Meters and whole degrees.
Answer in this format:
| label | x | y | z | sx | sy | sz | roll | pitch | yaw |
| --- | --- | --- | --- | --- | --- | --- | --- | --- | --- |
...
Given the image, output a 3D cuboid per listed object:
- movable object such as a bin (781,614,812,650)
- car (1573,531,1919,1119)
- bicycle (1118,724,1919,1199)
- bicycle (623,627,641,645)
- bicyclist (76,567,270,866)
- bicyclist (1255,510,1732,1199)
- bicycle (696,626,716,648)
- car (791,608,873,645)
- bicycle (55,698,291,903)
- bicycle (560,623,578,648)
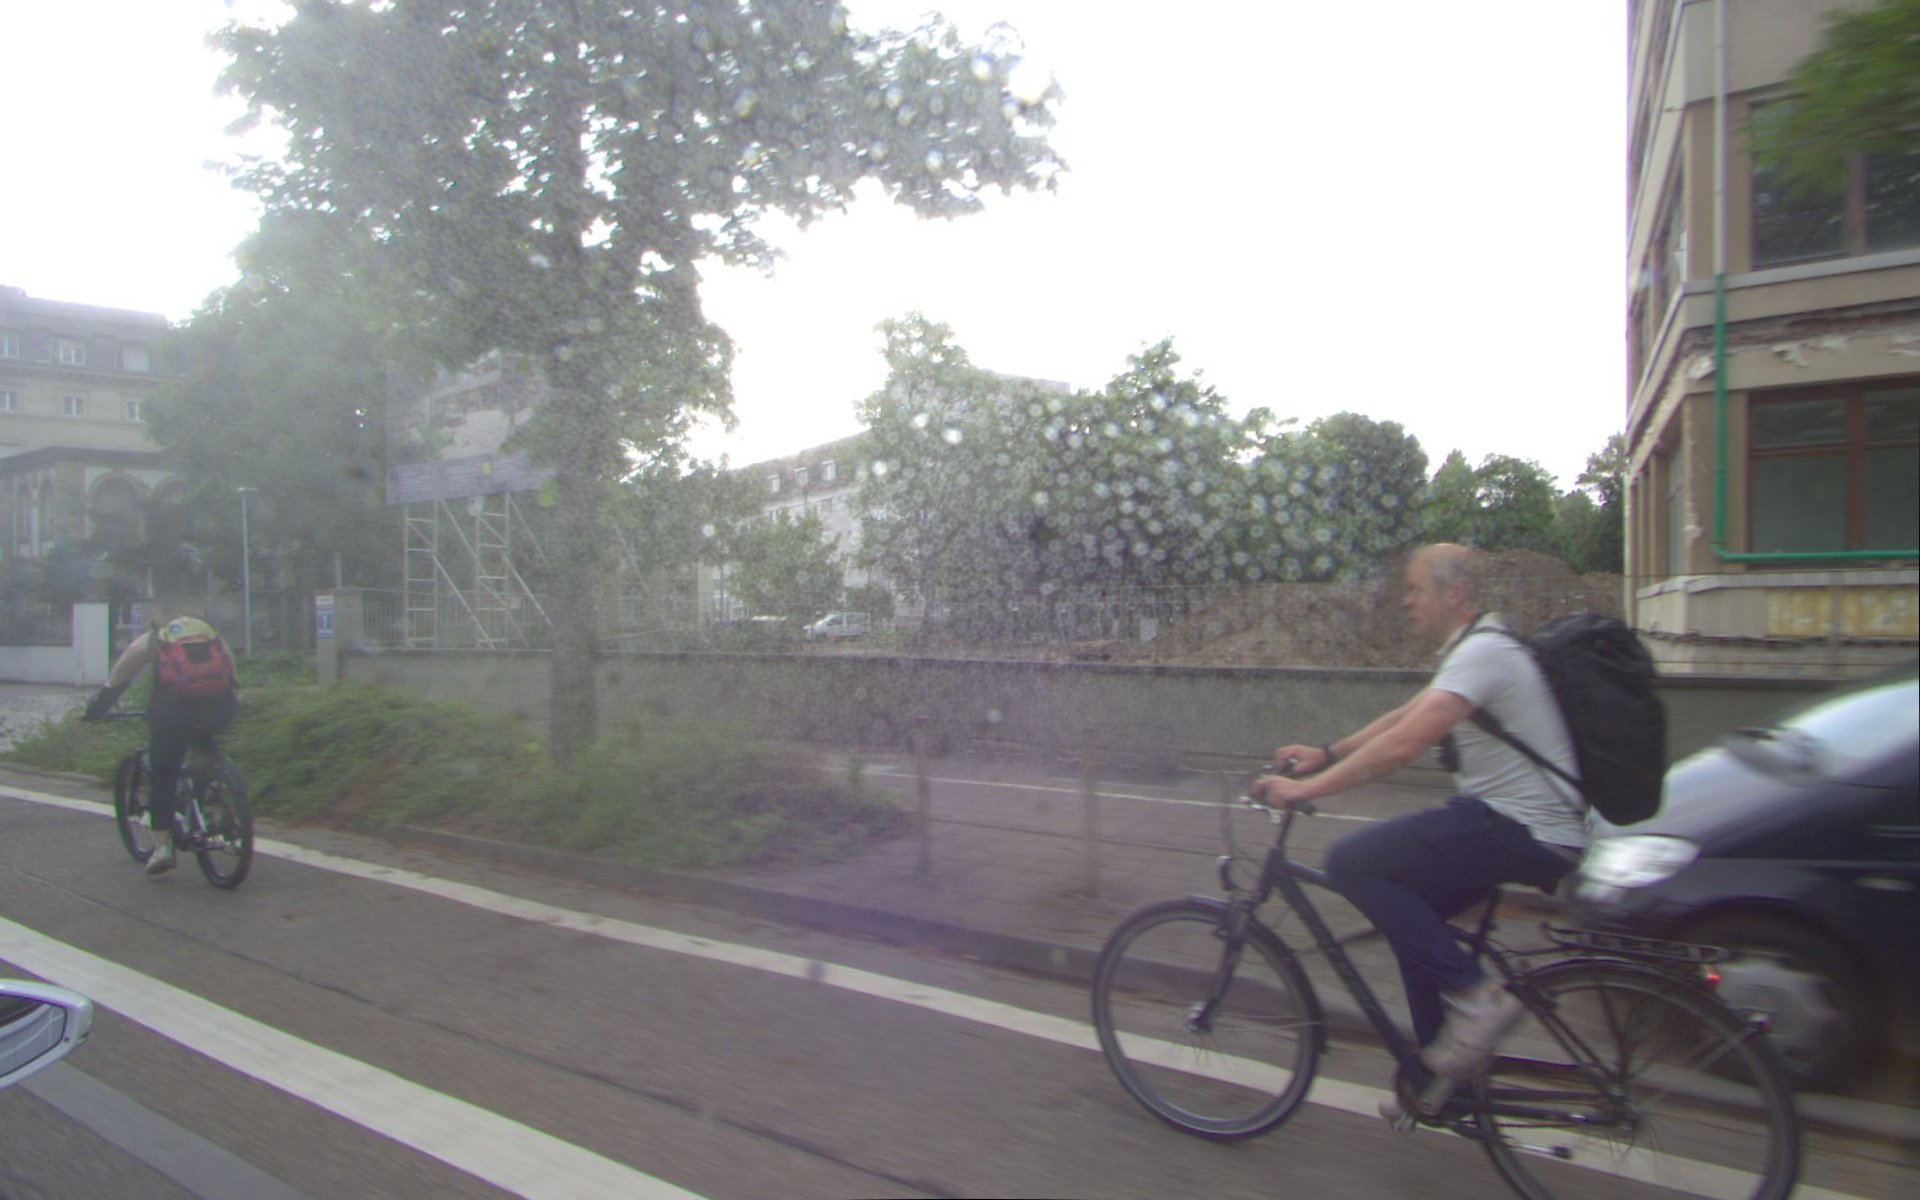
| label | x | y | z | sx | sy | sz | roll | pitch | yaw |
| --- | --- | --- | --- | --- | --- | --- | --- | --- | --- |
| movable object such as a bin | -7.000 | 1.339 | 42.826 | 1.039 | 1.469 | 1.349 | 0 | 1 | -23 |
| car | 4.397 | 0.700 | 3.259 | 4.024 | 1.835 | 1.652 | -1 | -2 | 31 |
| bicycle | 1.397 | 0.956 | 2.566 | 1.838 | 1.131 | 0.663 | 0 | -2 | 31 |
| bicycle | -15.704 | 1.715 | 47.943 | 0.609 | 0.824 | 1.937 | 0 | -1 | -25 |
| bicyclist | -4.711 | 0.648 | 5.997 | 0.907 | 1.631 | 0.656 | 0 | 0 | 32 |
| bicyclist | 1.337 | 0.624 | 2.600 | 0.971 | 1.590 | 0.661 | 0 | -1 | 31 |
| bicycle | -12.618 | 1.838 | 49.760 | 0.391 | 1.079 | 1.817 | 0 | -1 | -33 |
| car | -7.291 | 1.510 | 57.245 | 4.298 | 2.039 | 1.841 | 1 | -2 | -37 |
| bicycle | -4.852 | 1.147 | 6.121 | 2.028 | 0.992 | 0.489 | -1 | -2 | 33 |
| bicycle | -18.085 | 1.630 | 46.320 | 0.609 | 1.134 | 2.213 | 0 | -1 | -25 |
